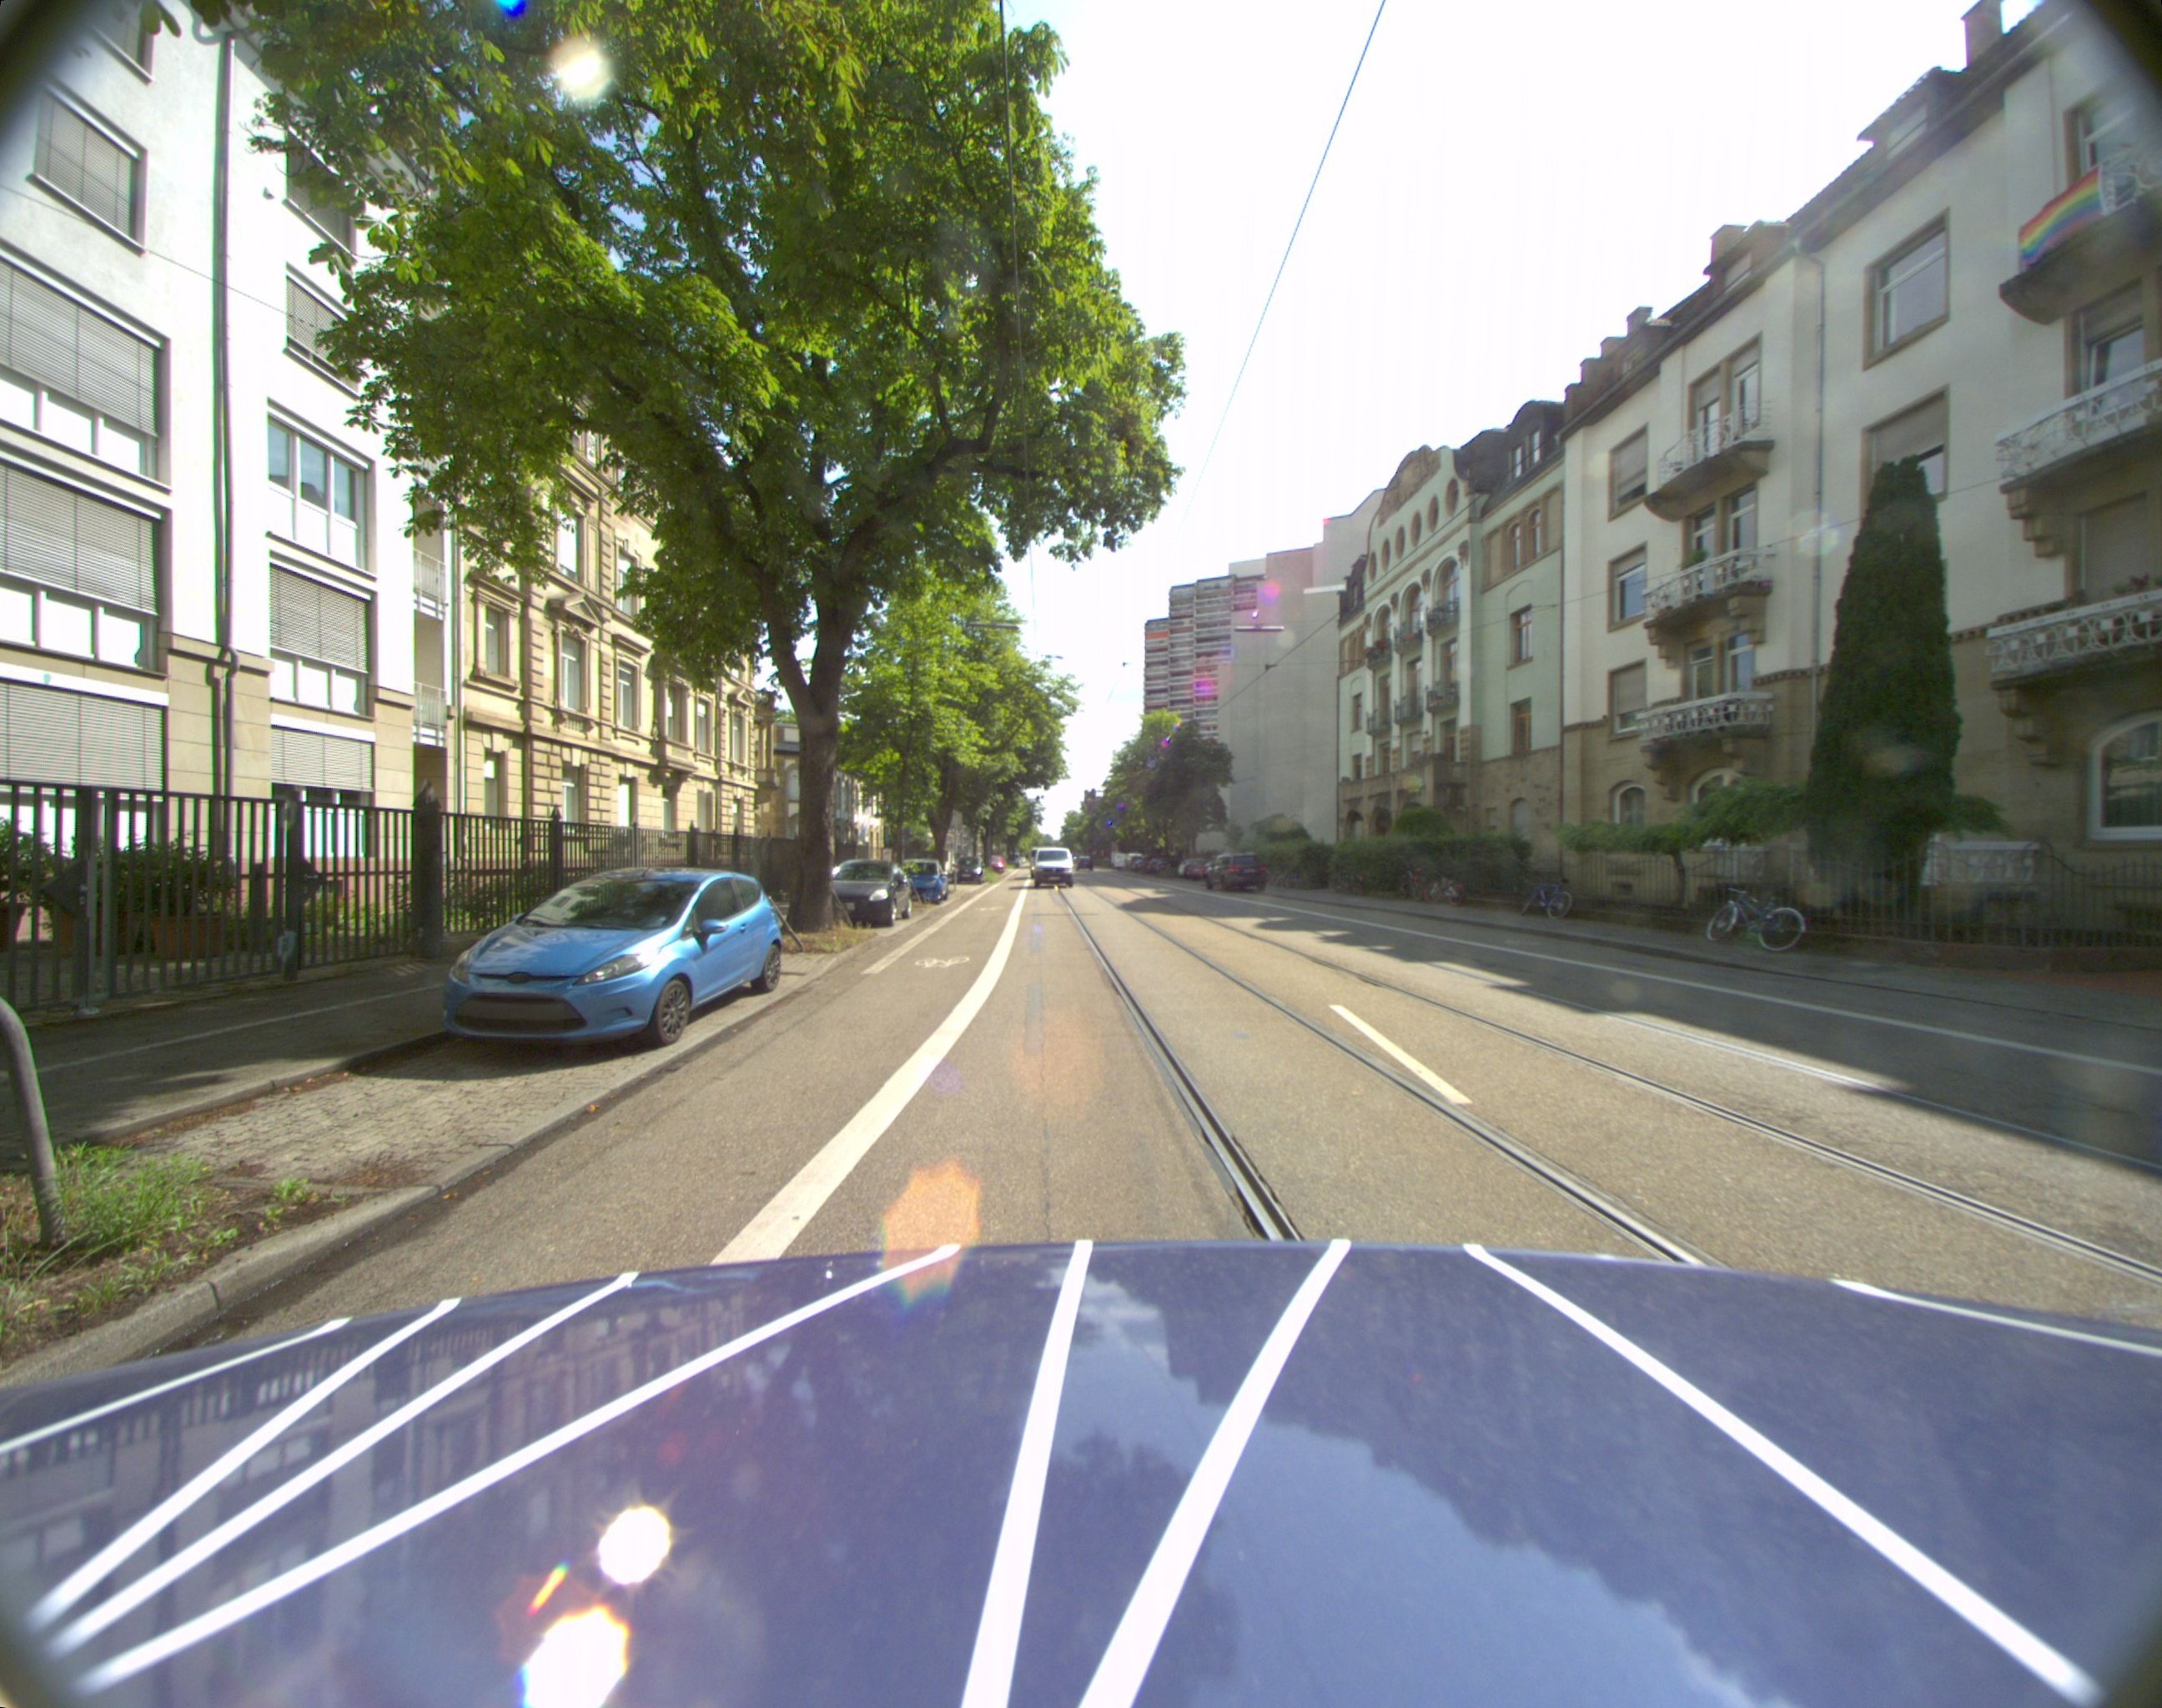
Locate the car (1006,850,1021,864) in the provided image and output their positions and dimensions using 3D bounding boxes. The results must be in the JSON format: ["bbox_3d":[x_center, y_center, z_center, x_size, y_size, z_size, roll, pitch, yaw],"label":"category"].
[{"bbox_3d":[-8.139,0.335,92.102,1.744,1.564,3.928,3,0,-4],"label":"car"}]

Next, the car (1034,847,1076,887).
[{"bbox_3d":[-1.334,0.600,38.272,1.974,1.901,4.816,0,0,-2],"label":"car"}]

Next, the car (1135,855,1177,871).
[{"bbox_3d":[7.259,0.868,73.592,3.994,1.499,2.001,0,0,7],"label":"car"}]

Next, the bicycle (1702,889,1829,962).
[{"bbox_3d":[11.057,1.119,12.368,0.467,0.990,1.979,0,0,6],"label":"bicycle"}]

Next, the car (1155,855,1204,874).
[{"bbox_3d":[8.291,0.863,64.112,3.994,1.499,2.001,0,0,7],"label":"car"}]

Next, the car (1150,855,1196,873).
[{"bbox_3d":[8.183,0.870,67.267,3.994,1.499,2.001,0,0,7],"label":"car"}]

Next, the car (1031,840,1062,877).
[{"bbox_3d":[-2.477,0.306,55.535,2.147,2.568,4.816,0,0,-2],"label":"car"}]

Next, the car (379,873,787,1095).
[{"bbox_3d":[-4.345,1.005,7.399,1.647,1.467,3.660,3,0,-3],"label":"car"}]

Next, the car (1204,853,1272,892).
[{"bbox_3d":[7.140,0.794,35.040,1.922,1.685,4.399,0,0,-5],"label":"car"}]

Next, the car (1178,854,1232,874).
[{"bbox_3d":[9.454,0.777,58.067,3.994,1.499,2.001,0,0,7],"label":"car"}]

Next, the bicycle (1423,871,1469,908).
[{"bbox_3d":[10.587,1.016,22.095,0.468,0.990,1.786,0,0,-1],"label":"bicycle"}]

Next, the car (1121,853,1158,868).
[{"bbox_3d":[6.551,0.744,84.649,3.994,1.672,2.001,0,0,7],"label":"car"}]

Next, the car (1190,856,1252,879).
[{"bbox_3d":[9.376,0.863,51.011,3.994,1.499,2.001,0,0,7],"label":"car"}]

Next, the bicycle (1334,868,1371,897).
[{"bbox_3d":[10.017,1.031,28.079,0.605,0.990,1.980,0,0,-1],"label":"bicycle"}]

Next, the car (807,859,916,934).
[{"bbox_3d":[-4.975,0.900,17.694,1.679,1.467,3.659,3,0,-4],"label":"car"}]

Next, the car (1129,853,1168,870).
[{"bbox_3d":[7.148,0.772,80.226,3.994,1.672,2.001,0,0,7],"label":"car"}]

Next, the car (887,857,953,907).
[{"bbox_3d":[-5.411,0.903,25.907,1.679,1.467,3.659,3,0,-4],"label":"car"}]

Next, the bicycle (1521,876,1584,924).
[{"bbox_3d":[10.893,1.036,17.612,0.467,0.990,1.787,0,0,5],"label":"bicycle"}]

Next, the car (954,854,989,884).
[{"bbox_3d":[-6.375,0.840,44.480,1.744,1.564,3.659,3,0,-4],"label":"car"}]

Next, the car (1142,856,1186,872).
[{"bbox_3d":[7.674,0.901,70.384,3.994,1.499,2.001,0,0,7],"label":"car"}]

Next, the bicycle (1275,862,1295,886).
[{"bbox_3d":[9.953,0.947,37.131,0.468,1.128,1.786,0,0,-1],"label":"bicycle"}]

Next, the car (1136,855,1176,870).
[{"bbox_3d":[7.576,0.861,76.754,3.994,1.499,2.001,0,0,7],"label":"car"}]

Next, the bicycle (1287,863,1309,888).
[{"bbox_3d":[10.041,0.972,35.189,0.468,1.128,1.786,0,0,-1],"label":"bicycle"}]

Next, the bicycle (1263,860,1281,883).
[{"bbox_3d":[9.846,0.899,39.227,0.468,1.128,1.786,0,0,-1],"label":"bicycle"}]

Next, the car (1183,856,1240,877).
[{"bbox_3d":[9.330,0.866,54.519,3.994,1.499,2.001,0,0,7],"label":"car"}]

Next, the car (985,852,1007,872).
[{"bbox_3d":[-7.542,0.687,67.683,1.744,1.564,3.928,3,0,-4],"label":"car"}]

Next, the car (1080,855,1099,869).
[{"bbox_3d":[0.910,0.871,84.640,1.761,1.509,4.067,0,0,-4],"label":"car"}]

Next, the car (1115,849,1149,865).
[{"bbox_3d":[6.114,0.393,90.482,1.994,1.740,4.008,-1,1,41],"label":"car"}]

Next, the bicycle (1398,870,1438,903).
[{"bbox_3d":[10.619,1.006,23.994,0.468,0.990,1.786,0,0,-1],"label":"bicycle"}]
